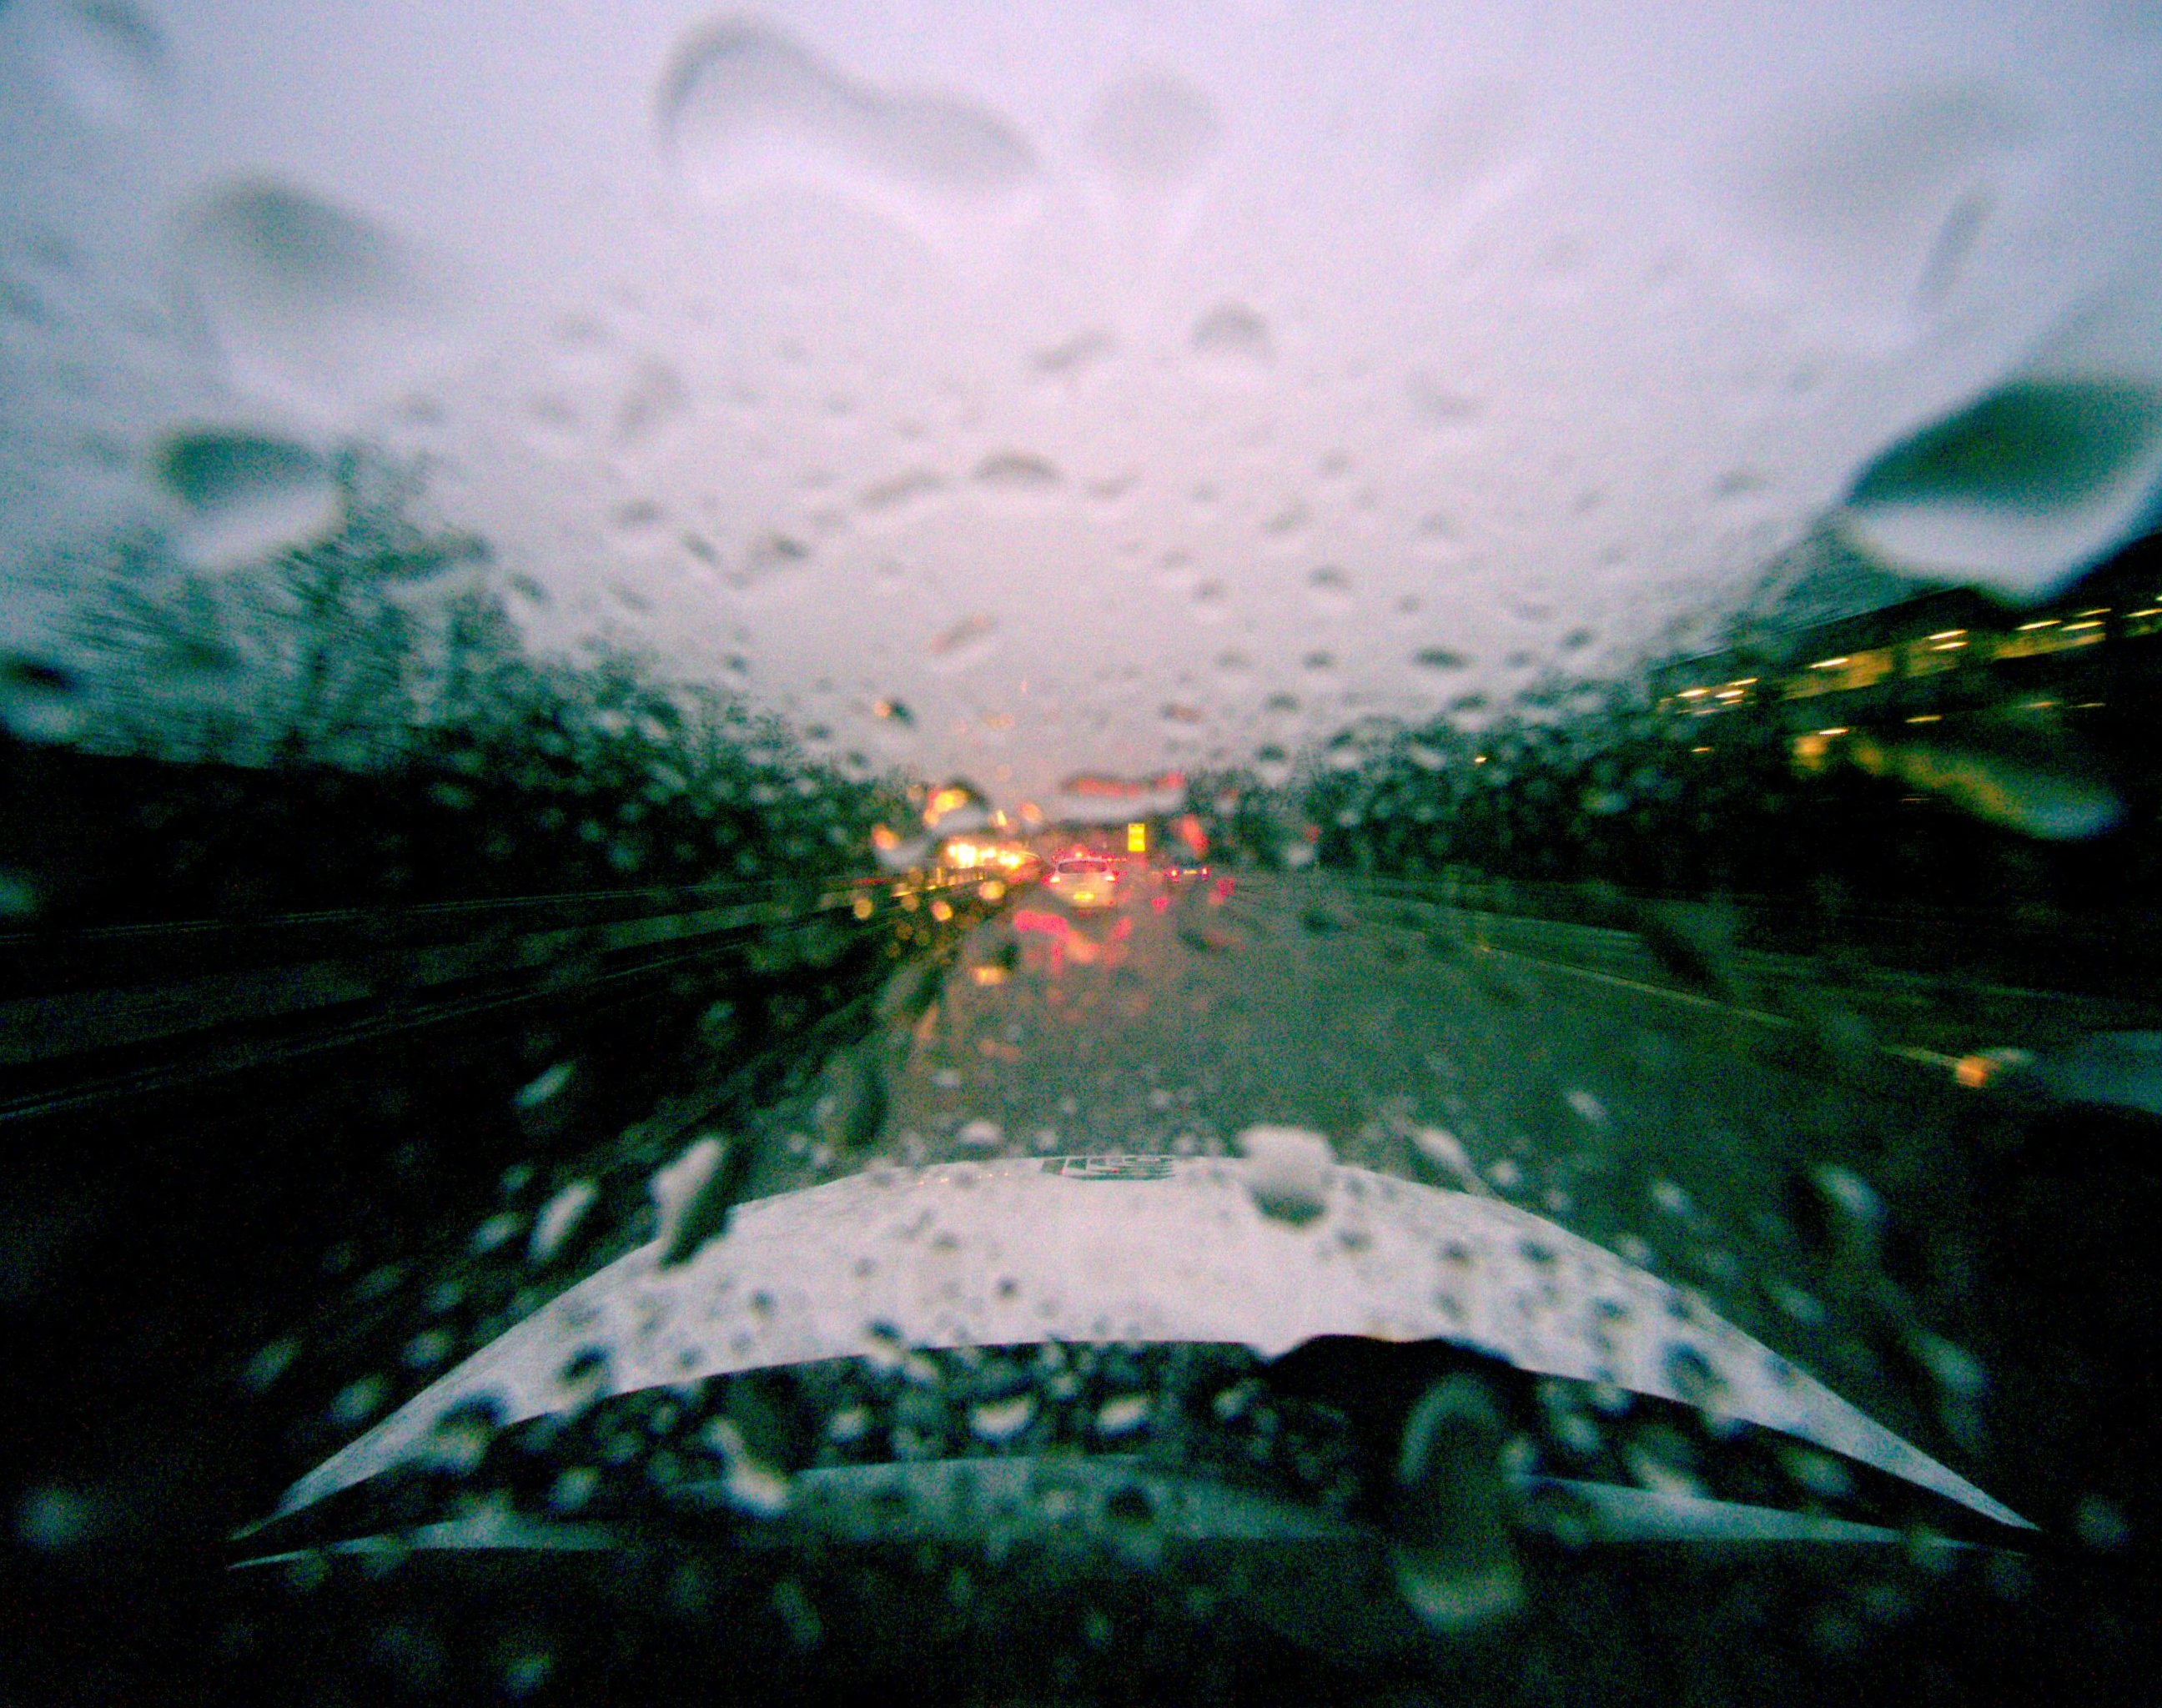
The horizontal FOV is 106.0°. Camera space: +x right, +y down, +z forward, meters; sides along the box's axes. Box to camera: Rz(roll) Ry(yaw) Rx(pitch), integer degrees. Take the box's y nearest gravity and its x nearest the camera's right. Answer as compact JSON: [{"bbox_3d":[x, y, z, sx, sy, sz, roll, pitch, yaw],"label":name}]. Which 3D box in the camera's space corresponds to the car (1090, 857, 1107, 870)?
[{"bbox_3d":[2.128,1.145,98.229,1.926,1.546,3.773,-1,0,0],"label":"car"}]

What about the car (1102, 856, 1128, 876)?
[{"bbox_3d":[3.094,1.142,74.709,1.929,1.546,3.768,-7,-1,-3],"label":"car"}]

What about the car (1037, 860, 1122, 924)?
[{"bbox_3d":[0.058,0.955,22.318,2.016,1.575,4.004,-1,0,4],"label":"car"}]

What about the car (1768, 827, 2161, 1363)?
[{"bbox_3d":[3.929,0.663,1.461,1.843,1.501,4.262,-1,0,1],"label":"car"}]

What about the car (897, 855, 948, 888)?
[{"bbox_3d":[-7.654,0.811,39.624,1.731,1.494,3.843,-1,0,0],"label":"car"}]

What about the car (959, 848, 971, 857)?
[{"bbox_3d":[-23.615,-0.320,165.976,1.876,1.832,4.782,-1,0,-3],"label":"car"}]

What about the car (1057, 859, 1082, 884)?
[{"bbox_3d":[-0.940,1.404,67.732,1.987,2.014,3.999,-1,0,0],"label":"car"}]

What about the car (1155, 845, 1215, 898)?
[{"bbox_3d":[4.188,0.679,33.360,1.927,2.019,3.772,-1,0,-1],"label":"car"}]
